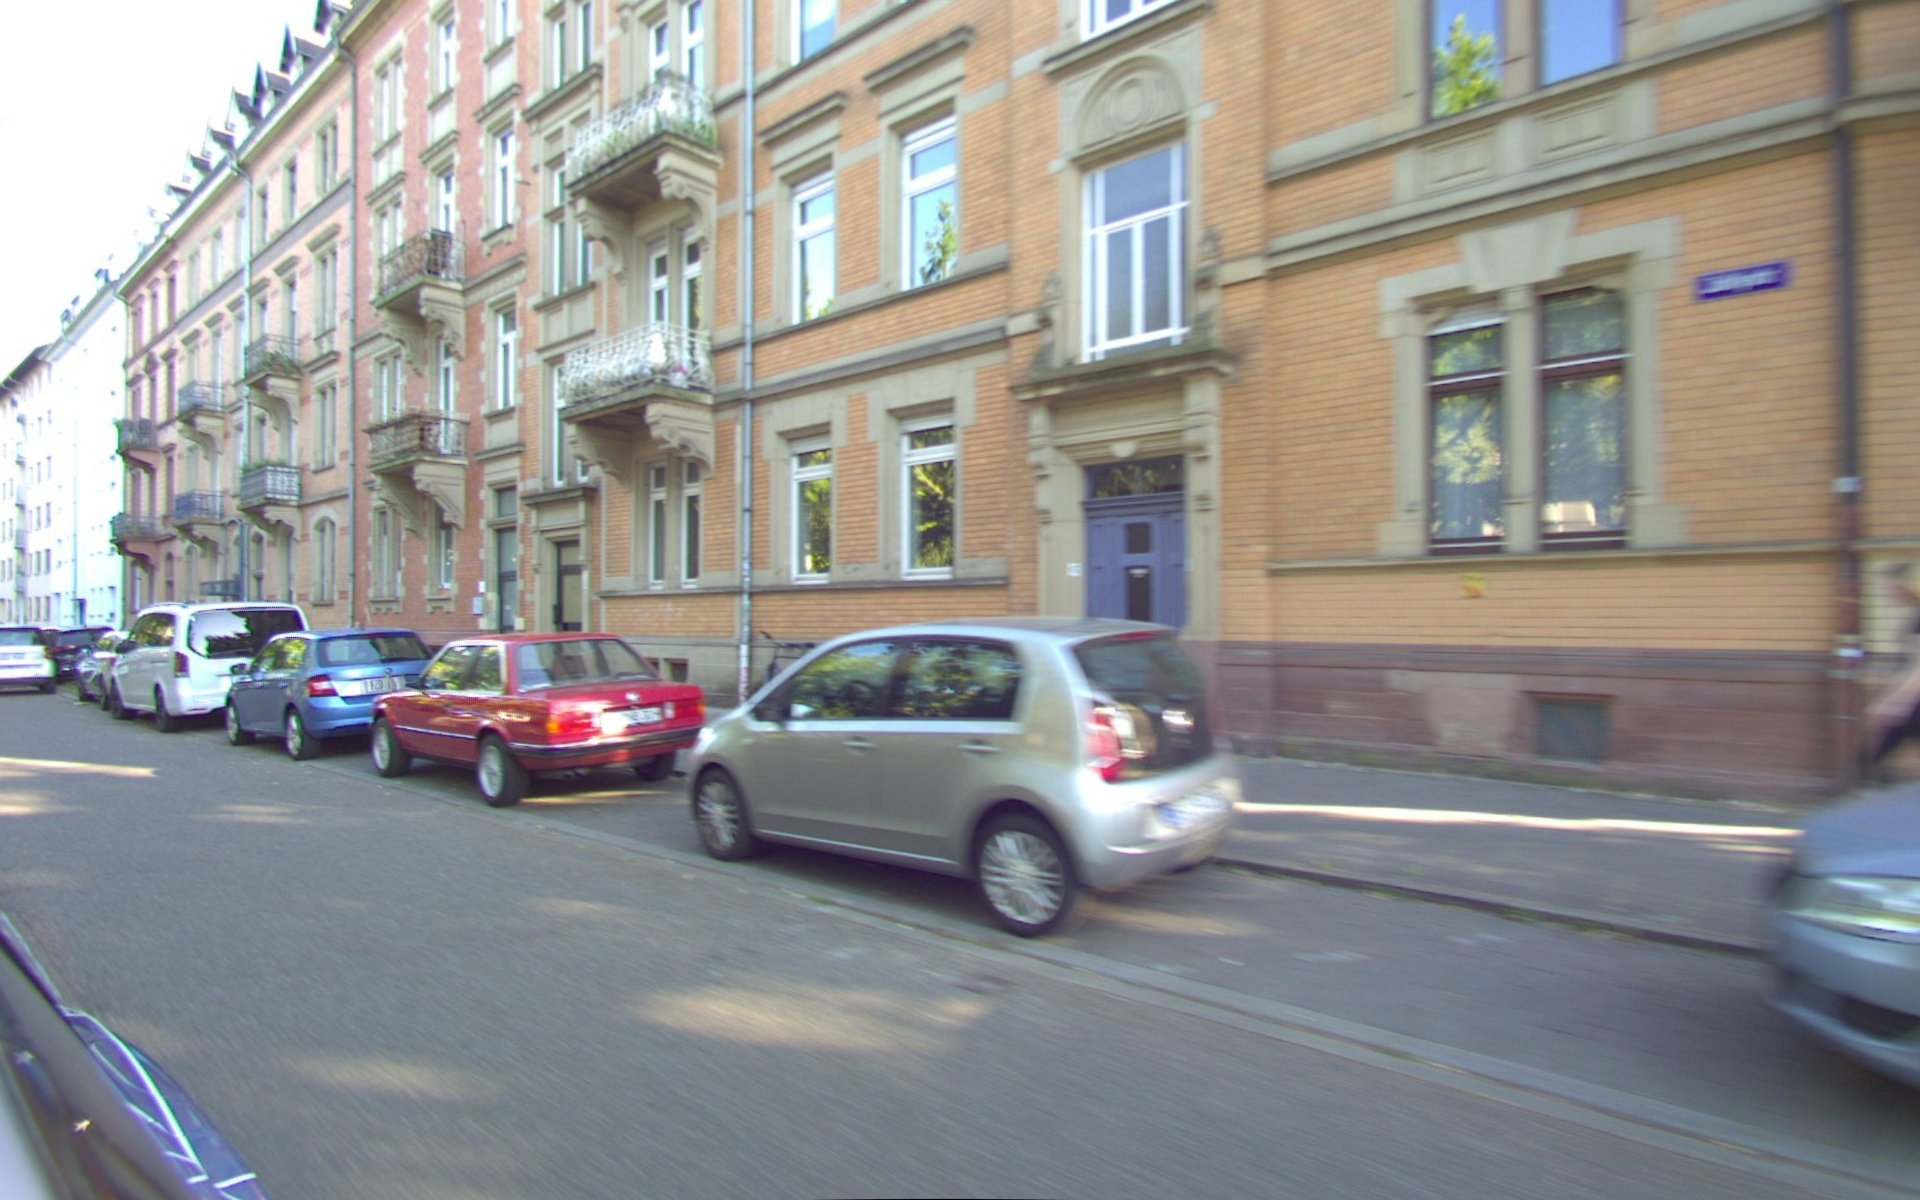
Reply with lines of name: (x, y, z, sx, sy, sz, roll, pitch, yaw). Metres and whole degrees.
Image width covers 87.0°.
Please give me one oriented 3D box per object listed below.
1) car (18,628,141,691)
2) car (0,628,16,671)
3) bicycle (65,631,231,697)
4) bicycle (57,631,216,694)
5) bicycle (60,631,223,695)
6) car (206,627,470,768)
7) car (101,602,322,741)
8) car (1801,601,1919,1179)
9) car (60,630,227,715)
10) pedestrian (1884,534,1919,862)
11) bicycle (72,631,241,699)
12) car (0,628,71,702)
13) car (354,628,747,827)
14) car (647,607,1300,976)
car: (-23.221, 1.506, 26.637, 4.390, 1.452, 1.856, -2, 0, 41)
car: (-38.103, 1.932, 39.152, 4.390, 1.580, 1.856, -2, 0, 41)
bicycle: (-19.539, 1.519, 24.444, 0.817, 1.496, 3.003, -2, -3, 41)
bicycle: (-20.802, 1.550, 25.651, 0.817, 1.496, 3.003, -2, -3, 41)
bicycle: (-20.190, 1.535, 25.044, 0.817, 1.496, 3.003, -2, -3, 41)
car: (-7.930, 1.102, 12.769, 3.886, 1.449, 1.745, -2, 0, 41)
car: (-12.229, 1.050, 16.409, 4.723, 1.897, 1.887, -2, 0, 41)
car: (4.378, 0.726, 2.188, 3.878, 1.486, 1.667, -2, 0, 40)
car: (-16.442, 1.375, 20.304, 4.390, 1.452, 1.856, -2, 0, 41)
pedestrian: (5.486, 0.508, 5.415, 0.721, 1.731, 0.666, -2, 0, 39)
bicycle: (-18.886, 1.503, 23.879, 0.817, 1.496, 3.003, -2, -3, 41)
car: (-22.118, 1.455, 23.335, 4.390, 1.548, 1.856, -2, 0, 41)
car: (-4.024, 1.005, 9.558, 4.289, 1.394, 1.744, -2, 0, 42)
car: (-0.117, 0.838, 6.052, 3.708, 1.486, 1.666, -2, 0, 42)
